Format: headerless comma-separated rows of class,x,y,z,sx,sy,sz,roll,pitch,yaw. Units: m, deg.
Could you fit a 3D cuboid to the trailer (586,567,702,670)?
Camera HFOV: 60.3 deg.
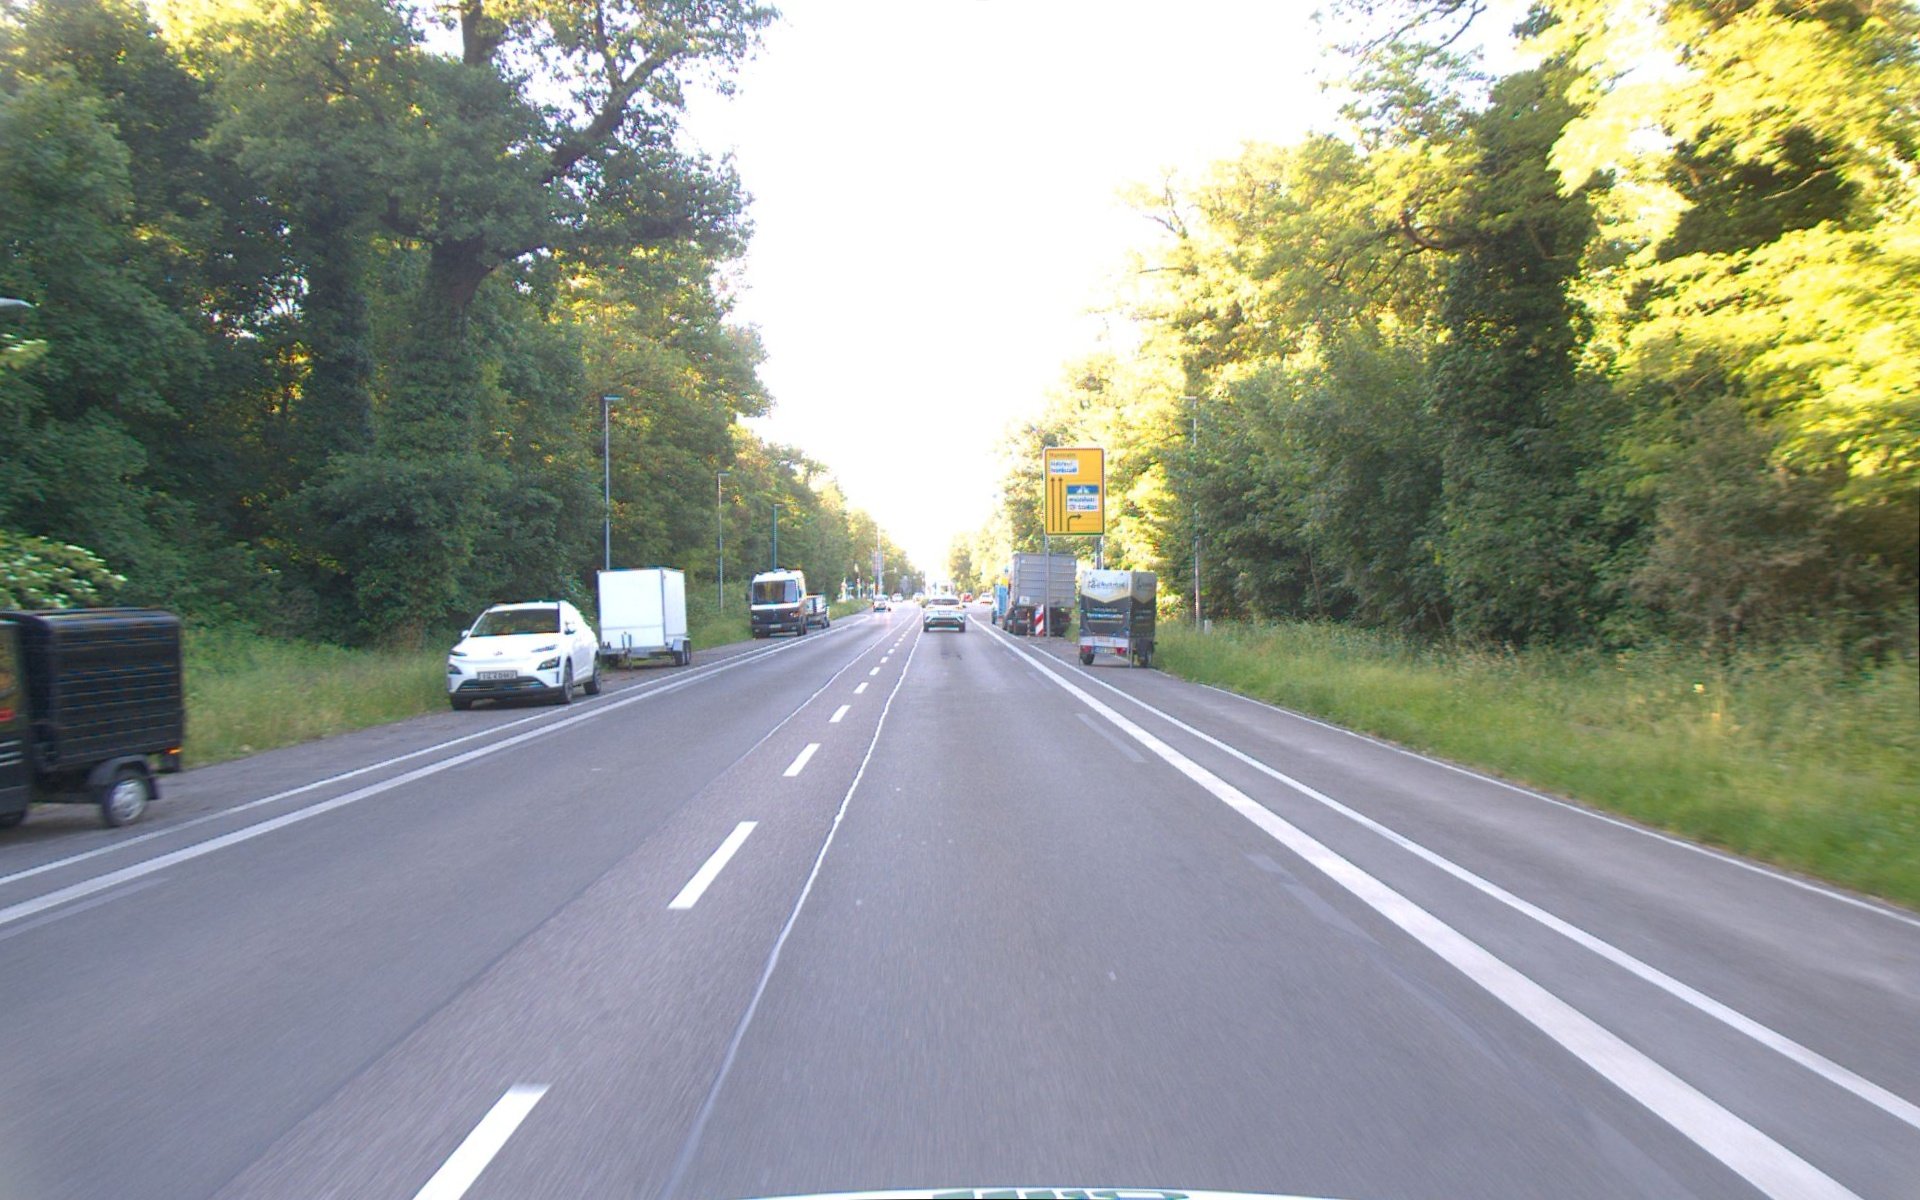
trailer,-7.595,0.432,40.062,2.032,2.333,3.487,-1,0,1

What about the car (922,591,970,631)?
car,-0.606,0.452,70.990,1.953,1.668,3.999,-1,0,-1

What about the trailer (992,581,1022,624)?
trailer,2.591,0.119,91.039,1.469,2.274,4.549,1,0,0

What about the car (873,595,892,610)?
car,-7.479,0.223,159.360,1.644,1.440,4.000,-1,0,0

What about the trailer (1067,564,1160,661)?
trailer,3.540,0.269,37.903,1.580,2.149,2.397,0,0,20

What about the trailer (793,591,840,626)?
trailer,-7.291,0.403,84.237,1.439,1.688,3.368,-2,0,12

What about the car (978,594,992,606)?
car,3.657,-0.020,240.681,1.953,1.646,4.000,1,0,0

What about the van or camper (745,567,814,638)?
van or camper,-7.652,0.087,70.563,2.255,2.816,5.556,-3,0,-1

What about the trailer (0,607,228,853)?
trailer,-6.758,0.870,11.769,1.366,1.601,2.675,-1,0,19

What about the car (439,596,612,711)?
car,-6.865,0.788,26.554,1.778,1.599,4.205,-3,0,-3

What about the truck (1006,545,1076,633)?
truck,3.239,-0.425,67.820,2.454,3.425,7.106,0,0,0
